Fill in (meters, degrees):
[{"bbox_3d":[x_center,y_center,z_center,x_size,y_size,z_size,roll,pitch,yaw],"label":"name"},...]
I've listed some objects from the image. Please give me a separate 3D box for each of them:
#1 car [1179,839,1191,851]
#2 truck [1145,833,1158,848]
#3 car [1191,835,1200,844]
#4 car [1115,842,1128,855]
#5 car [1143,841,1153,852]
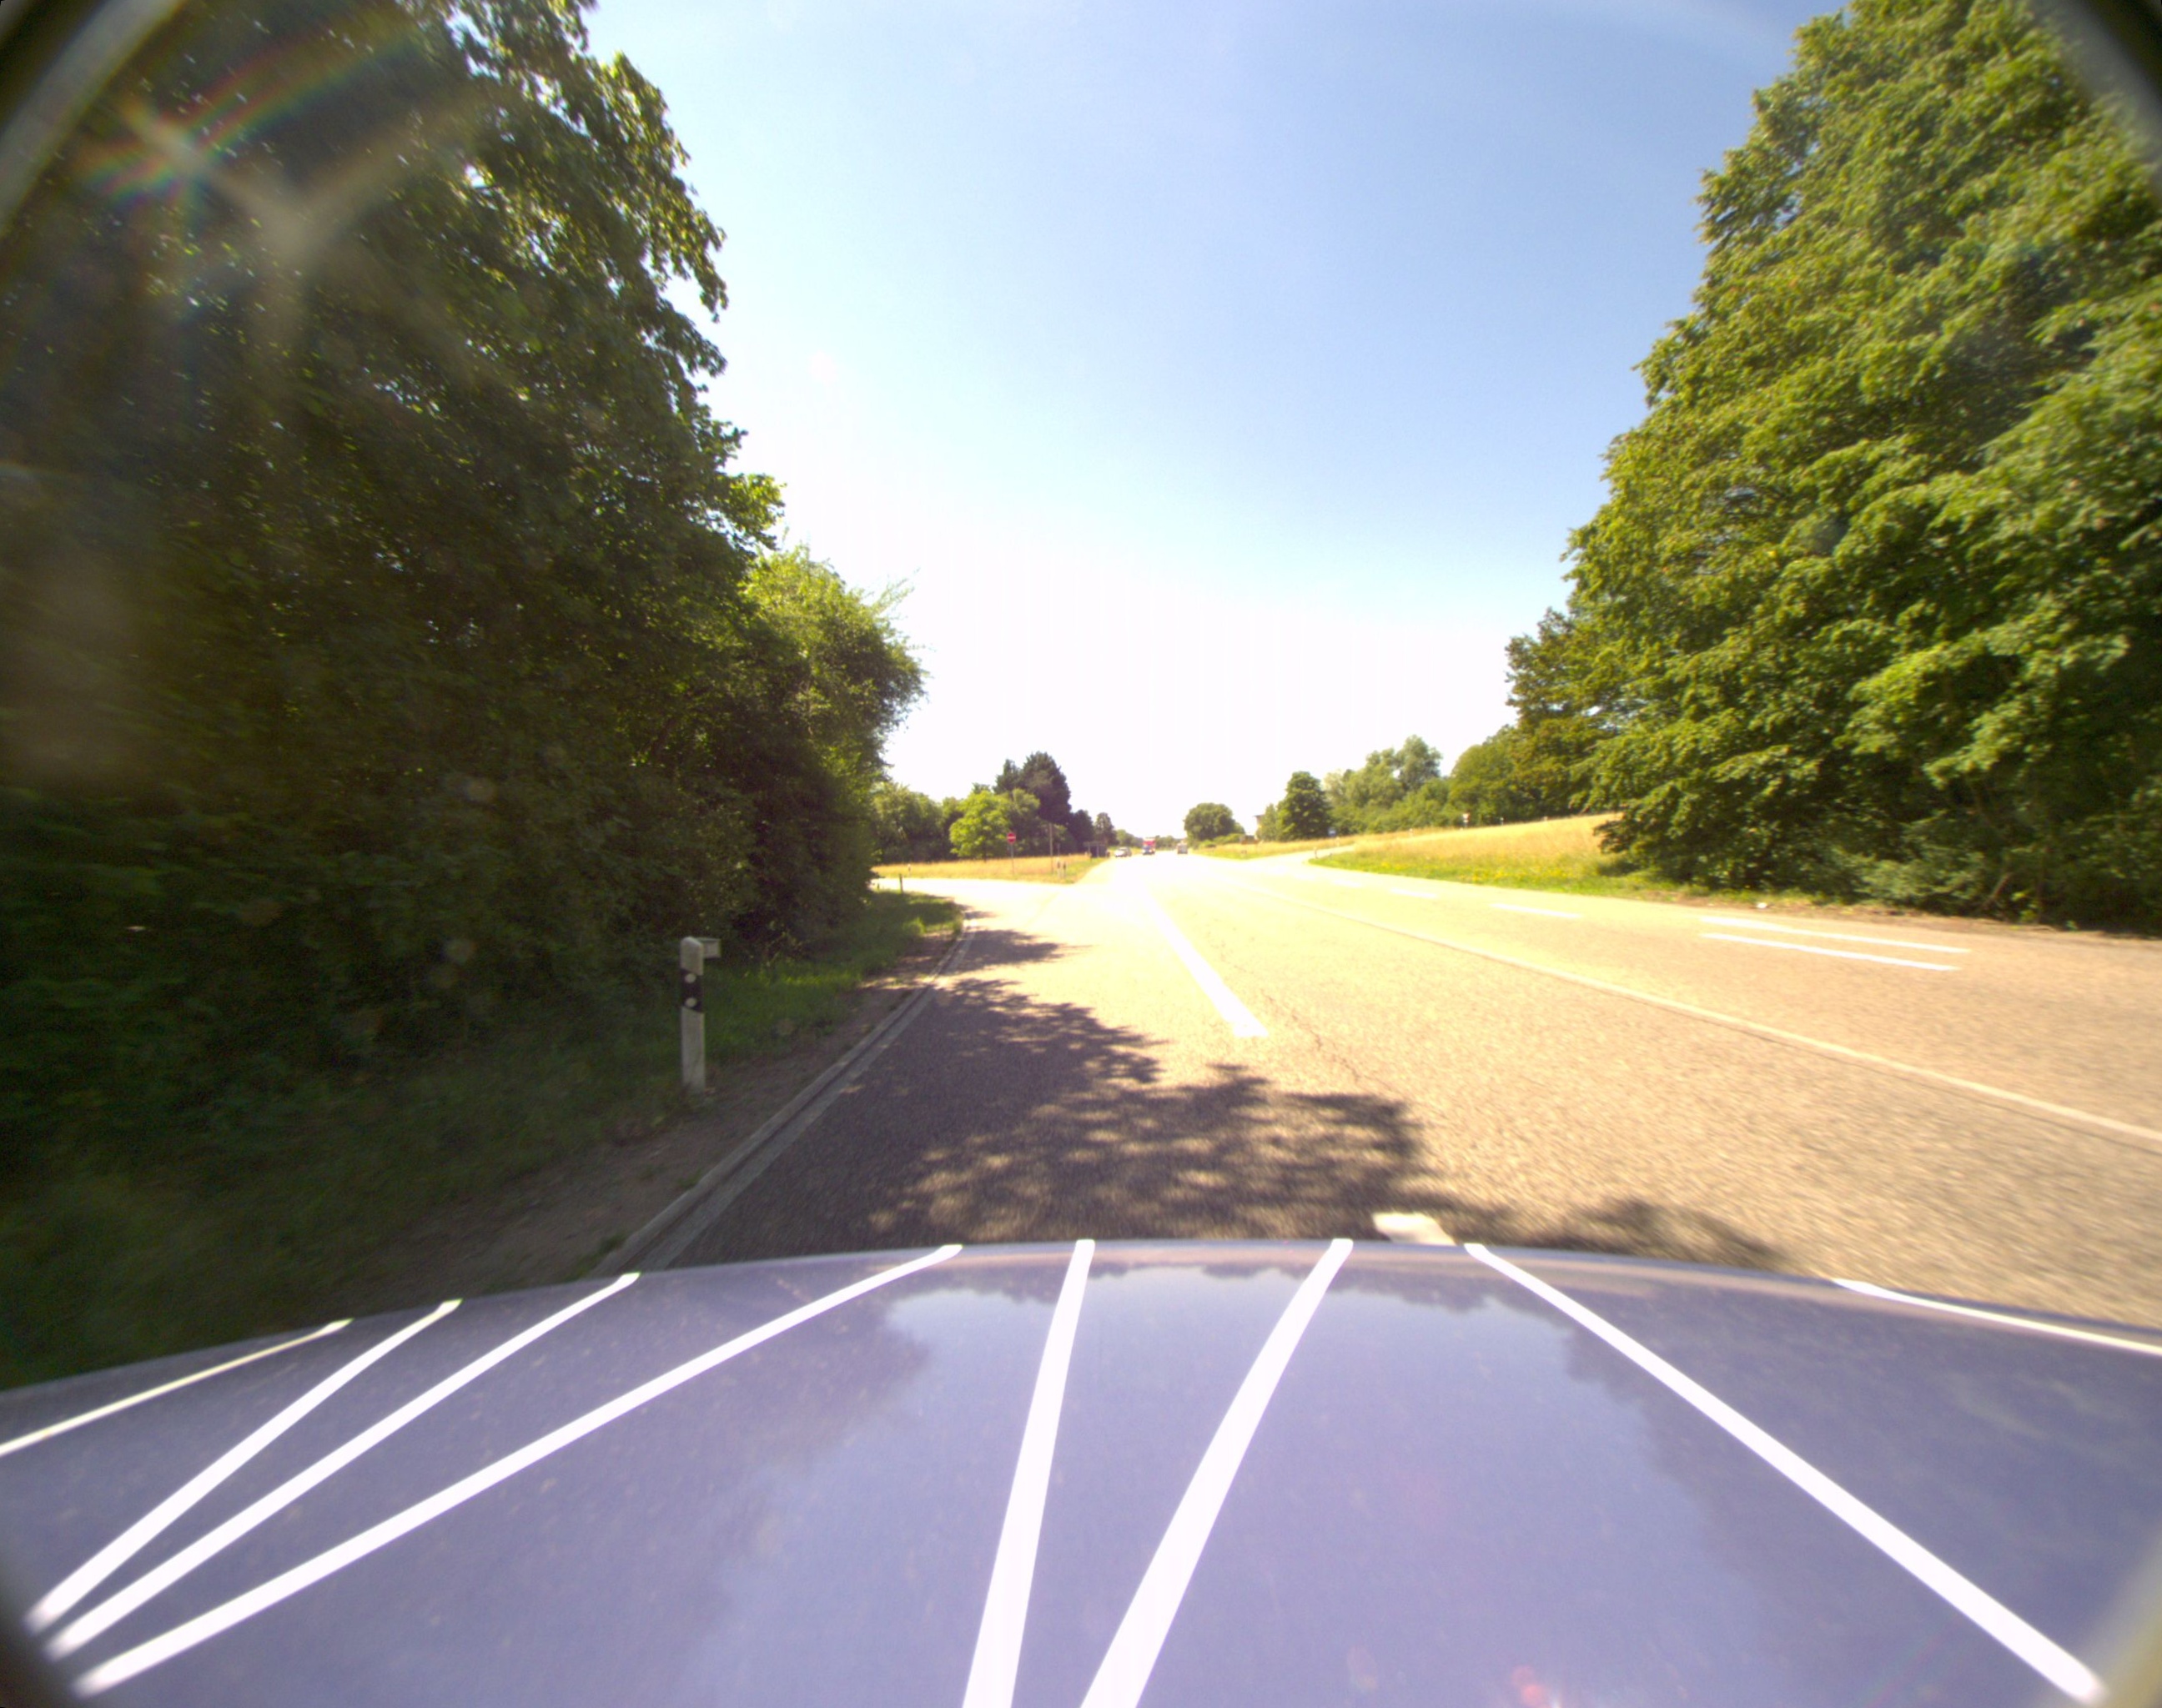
[{"bbox_3d":[18.392,-1.574,133.826,1.997,1.952,4.002,-2,1,8],"label":"car"},{"bbox_3d":[14.206,-2.765,153.256,2.457,2.927,6.976,-2,1,5],"label":"truck"},{"bbox_3d":[26.996,-3.514,179.360,1.844,2.002,4.001,-2,1,5],"label":"car"},{"bbox_3d":[6.653,-0.936,125.919,1.998,2.002,4.000,-2,1,3],"label":"car"},{"bbox_3d":[11.849,-1.278,134.621,1.746,1.833,4.001,-2,1,5],"label":"car"}]
